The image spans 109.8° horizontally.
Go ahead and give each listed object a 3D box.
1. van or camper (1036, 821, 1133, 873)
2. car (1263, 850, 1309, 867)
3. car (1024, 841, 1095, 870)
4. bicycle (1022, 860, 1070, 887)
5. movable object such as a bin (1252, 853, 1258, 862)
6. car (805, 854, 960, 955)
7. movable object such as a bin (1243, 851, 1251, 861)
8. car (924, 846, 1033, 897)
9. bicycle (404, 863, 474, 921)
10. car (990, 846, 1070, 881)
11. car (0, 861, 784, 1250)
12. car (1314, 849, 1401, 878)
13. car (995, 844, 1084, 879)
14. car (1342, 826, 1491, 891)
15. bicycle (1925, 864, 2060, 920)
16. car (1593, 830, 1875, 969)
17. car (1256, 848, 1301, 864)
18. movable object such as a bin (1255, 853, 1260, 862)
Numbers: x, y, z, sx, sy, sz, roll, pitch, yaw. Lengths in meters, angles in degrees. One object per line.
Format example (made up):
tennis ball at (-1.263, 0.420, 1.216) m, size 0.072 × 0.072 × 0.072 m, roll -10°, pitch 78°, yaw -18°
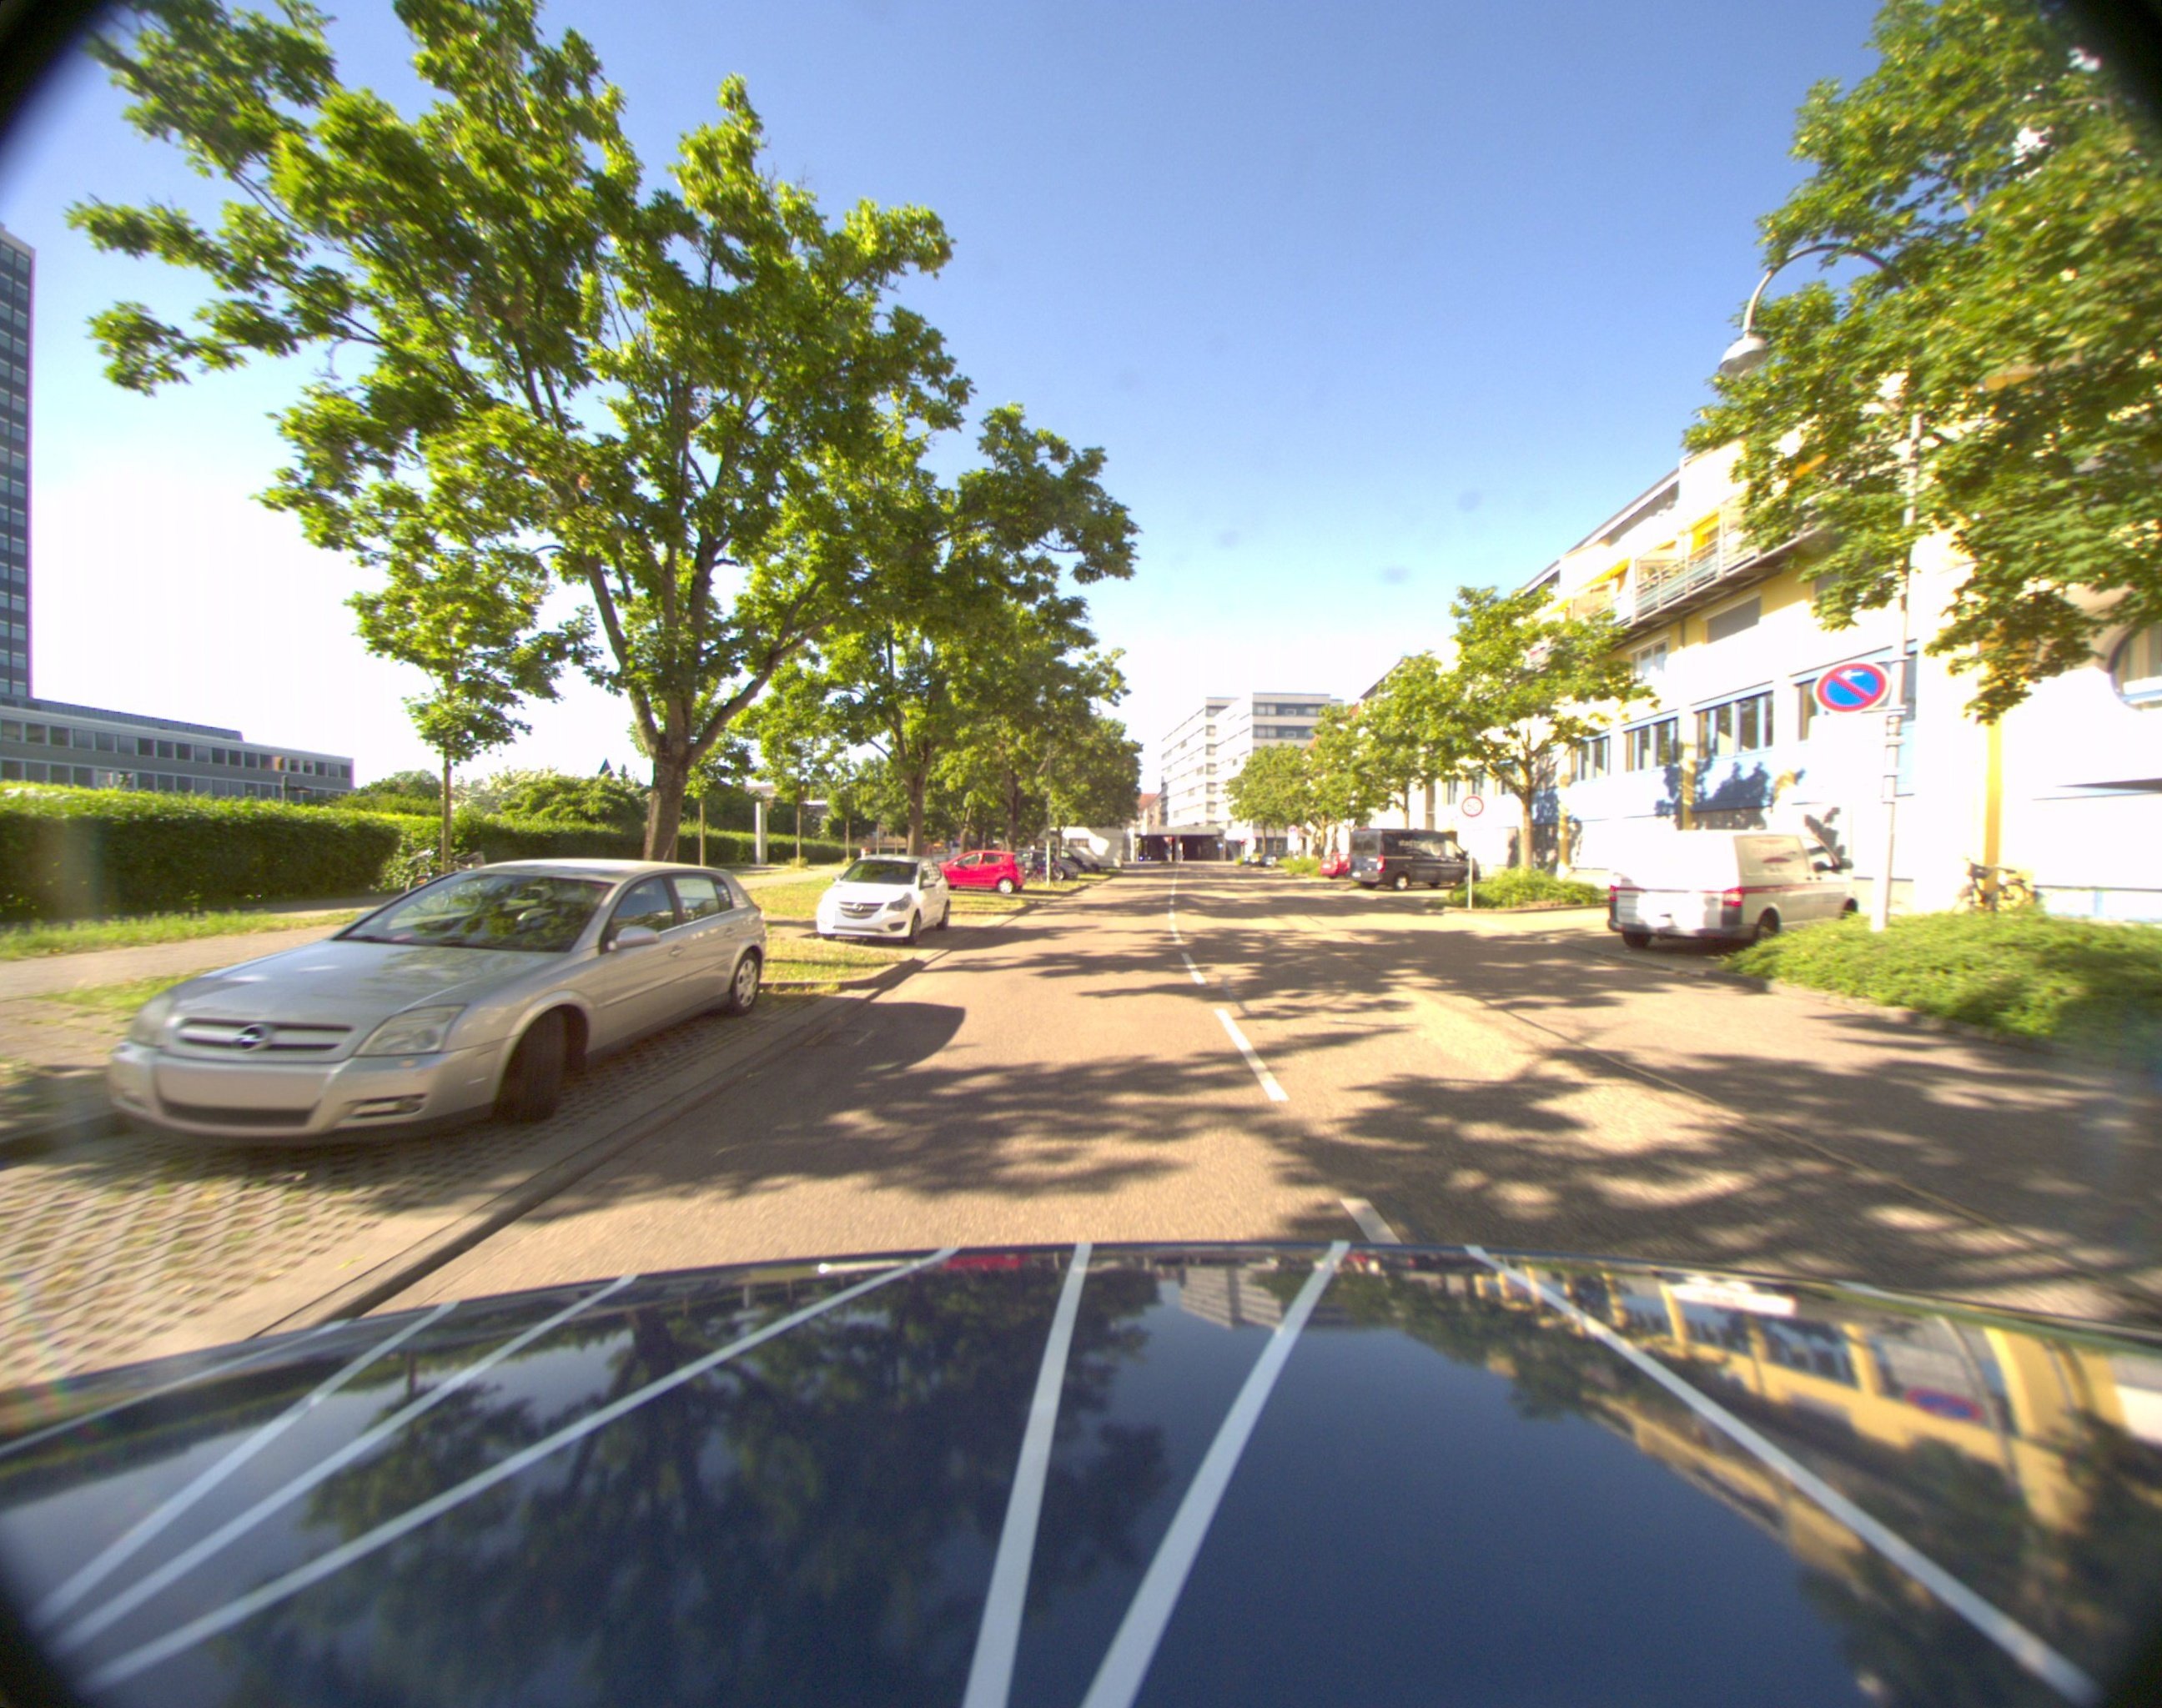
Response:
van or camper at (0.280, -0.465, 49.658) m, size 5.994 × 2.967 × 2.671 m, roll 3°, pitch 1°, yaw 5°
car at (19.151, 0.440, 70.937) m, size 4.005 × 1.456 × 1.807 m, roll -2°, pitch 1°, yaw -26°
car at (-1.301, 0.104, 46.984) m, size 4.157 × 1.537 × 1.860 m, roll 3°, pitch 1°, yaw 5°
bicycle at (-1.374, 0.758, 29.718) m, size 1.752 × 0.985 × 0.531 m, roll 2°, pitch 1°, yaw 19°
movable object such as a bin at (19.536, 0.393, 85.232) m, size 0.476 × 0.954 × 0.543 m, roll -1°, pitch 1°, yaw 29°
car at (-3.460, 0.802, 13.951) m, size 1.647 × 1.485 × 3.766 m, roll 3°, pitch 1°, yaw 3°
movable object such as a bin at (18.746, 0.249, 85.712) m, size 0.674 × 1.067 × 0.804 m, roll 1°, pitch 1°, yaw 32°
car at (-3.608, 0.588, 27.027) m, size 3.440 × 1.535 × 1.628 m, roll 4°, pitch 1°, yaw 8°
bicycle at (-10.544, 0.603, 12.517) m, size 0.348 × 0.861 × 1.407 m, roll 1°, pitch 1°, yaw -17°
car at (-2.446, 0.447, 36.658) m, size 3.468 × 1.471 × 1.860 m, roll 3°, pitch 1°, yaw 8°
car at (-3.928, 0.882, 5.506) m, size 1.814 × 1.485 × 4.622 m, roll 3°, pitch 1°, yaw -2°
car at (15.049, 0.492, 41.426) m, size 4.237 × 1.467 × 1.767 m, roll -1°, pitch 0°, yaw -16°
car at (-2.101, 0.360, 39.158) m, size 4.201 × 1.537 × 1.860 m, roll 3°, pitch 1°, yaw 8°
car at (13.566, 0.134, 30.733) m, size 5.510 × 2.422 × 2.183 m, roll -1°, pitch 0°, yaw -19°
bicycle at (19.306, 0.789, 16.136) m, size 1.801 × 1.091 × 0.702 m, roll 1°, pitch 1°, yaw 8°
car at (11.024, 0.634, 12.772) m, size 4.778 × 1.973 × 1.996 m, roll -1°, pitch 0°, yaw -28°
car at (19.166, 0.185, 73.678) m, size 4.005 × 1.456 × 1.807 m, roll -2°, pitch 1°, yaw -26°
movable object such as a bin at (20.023, 0.393, 86.185) m, size 0.476 × 1.035 × 0.543 m, roll -1°, pitch 1°, yaw 32°
